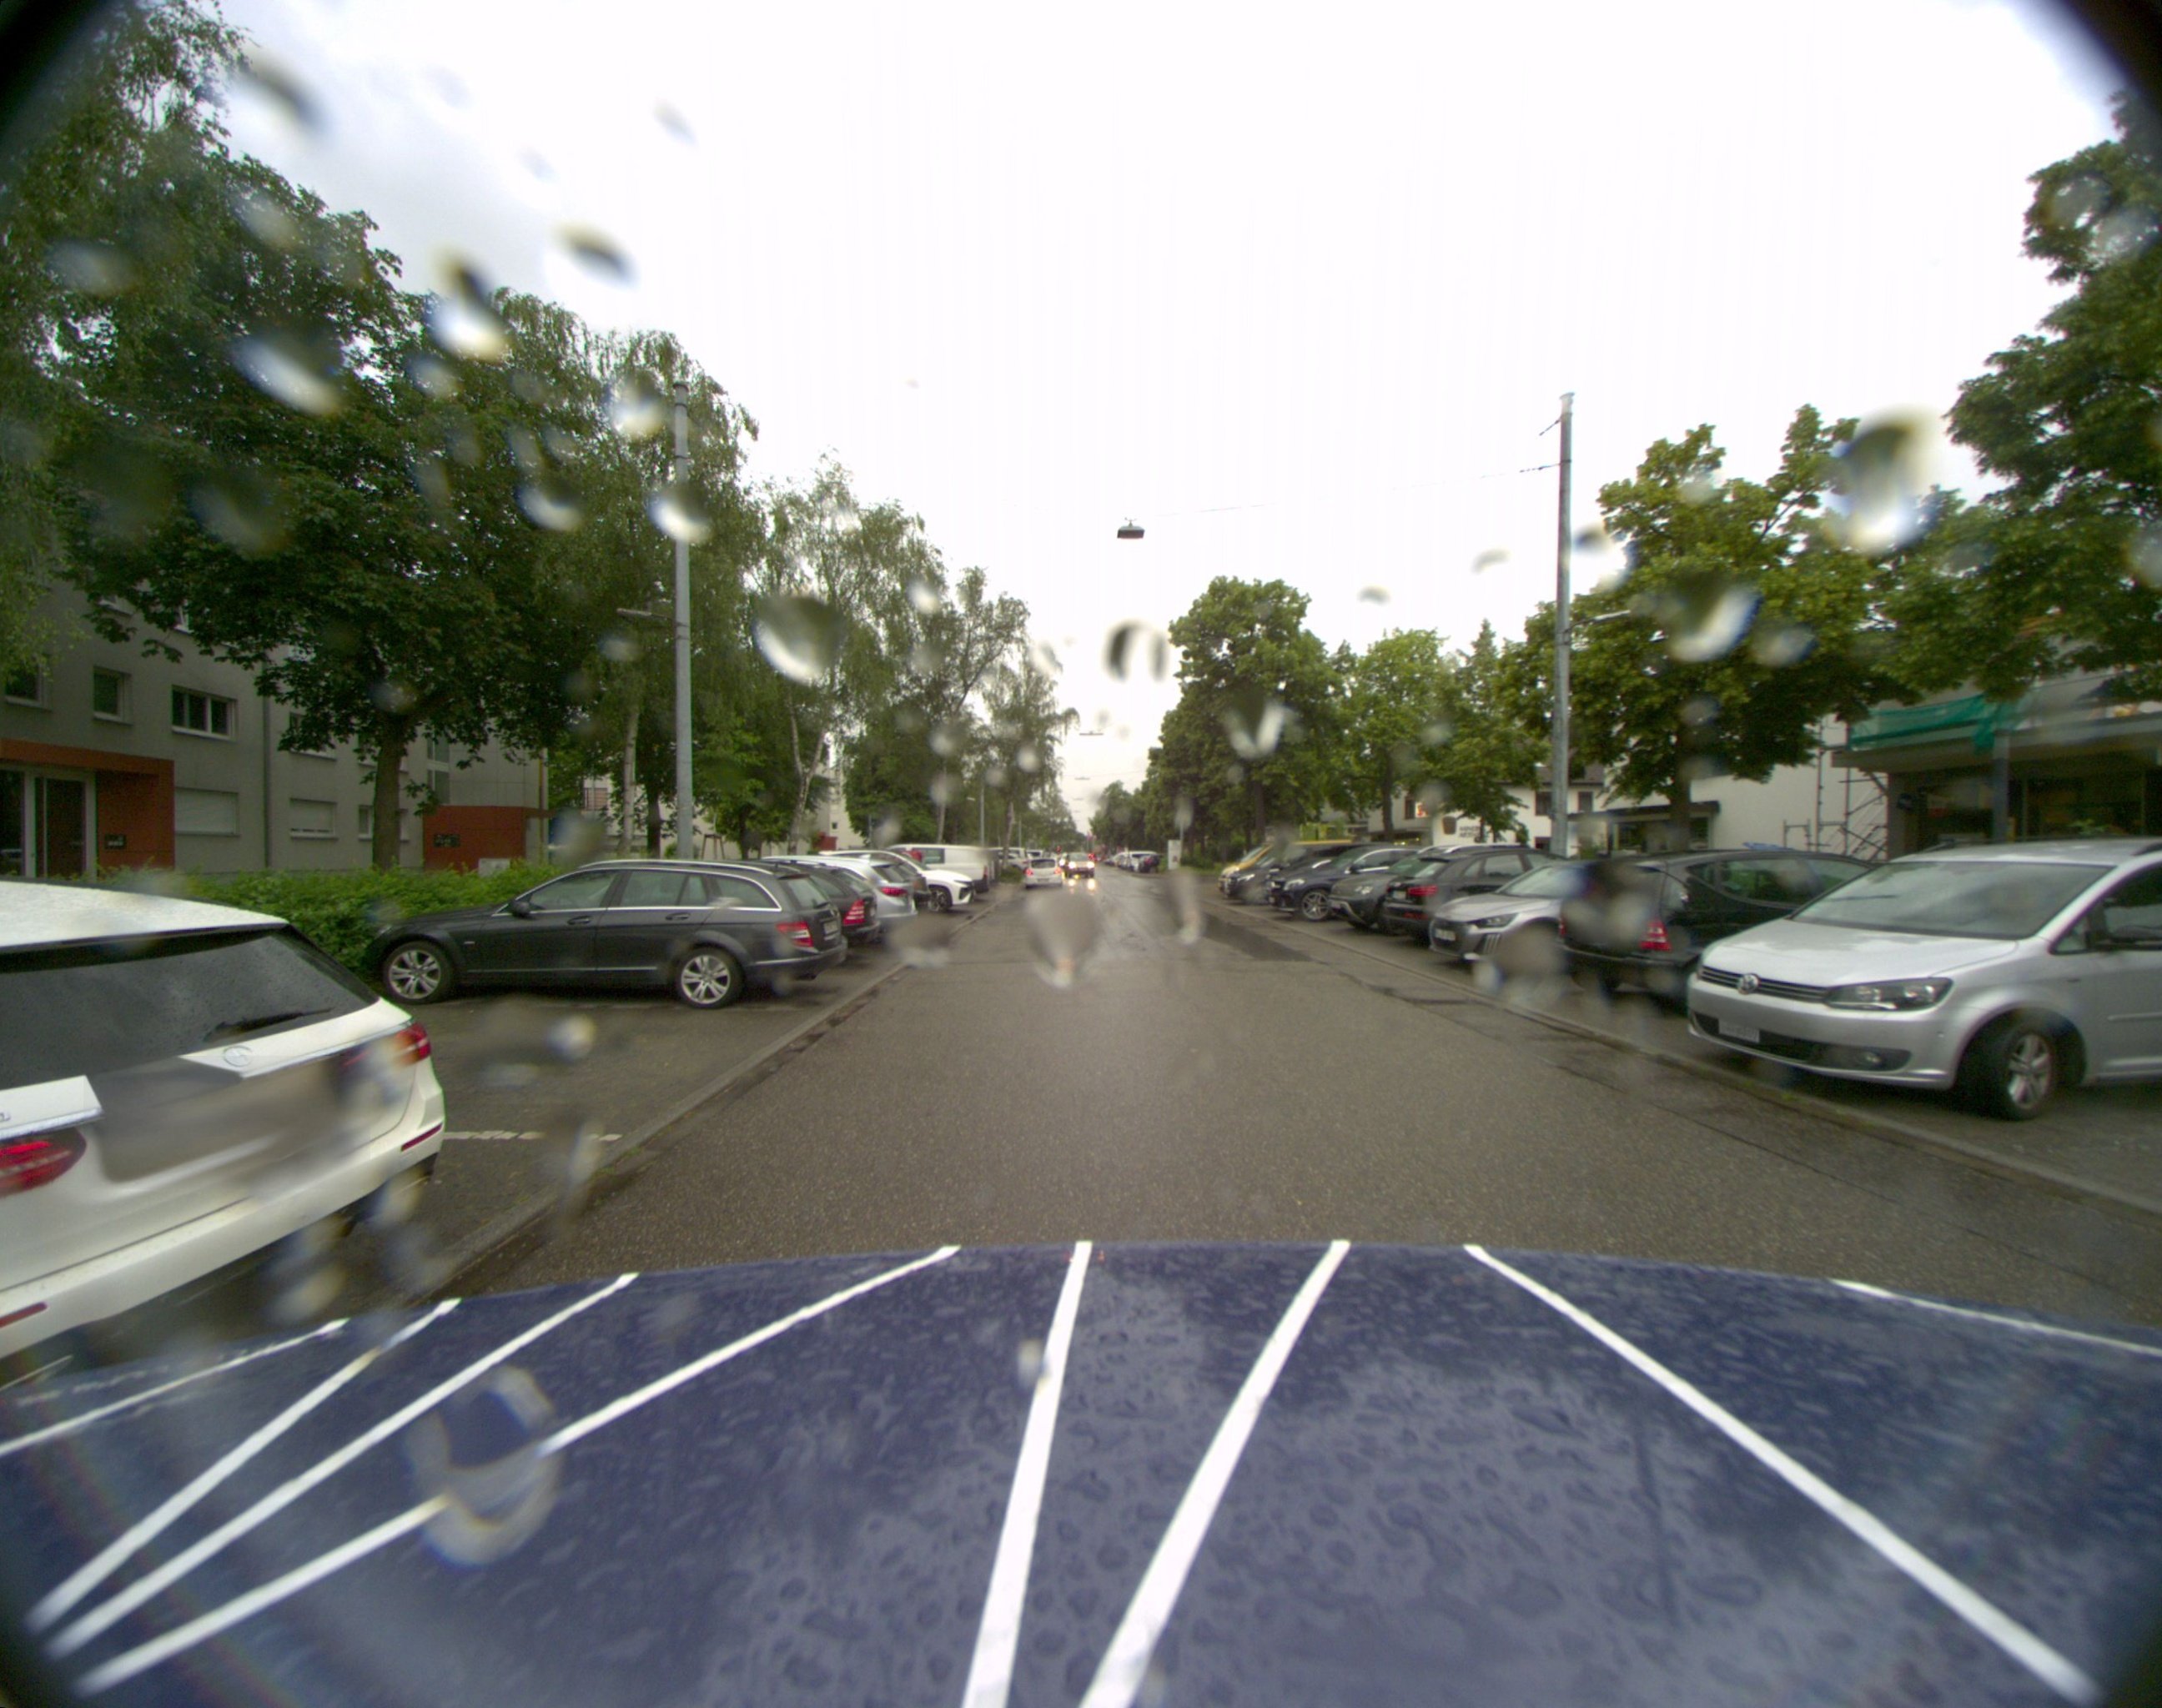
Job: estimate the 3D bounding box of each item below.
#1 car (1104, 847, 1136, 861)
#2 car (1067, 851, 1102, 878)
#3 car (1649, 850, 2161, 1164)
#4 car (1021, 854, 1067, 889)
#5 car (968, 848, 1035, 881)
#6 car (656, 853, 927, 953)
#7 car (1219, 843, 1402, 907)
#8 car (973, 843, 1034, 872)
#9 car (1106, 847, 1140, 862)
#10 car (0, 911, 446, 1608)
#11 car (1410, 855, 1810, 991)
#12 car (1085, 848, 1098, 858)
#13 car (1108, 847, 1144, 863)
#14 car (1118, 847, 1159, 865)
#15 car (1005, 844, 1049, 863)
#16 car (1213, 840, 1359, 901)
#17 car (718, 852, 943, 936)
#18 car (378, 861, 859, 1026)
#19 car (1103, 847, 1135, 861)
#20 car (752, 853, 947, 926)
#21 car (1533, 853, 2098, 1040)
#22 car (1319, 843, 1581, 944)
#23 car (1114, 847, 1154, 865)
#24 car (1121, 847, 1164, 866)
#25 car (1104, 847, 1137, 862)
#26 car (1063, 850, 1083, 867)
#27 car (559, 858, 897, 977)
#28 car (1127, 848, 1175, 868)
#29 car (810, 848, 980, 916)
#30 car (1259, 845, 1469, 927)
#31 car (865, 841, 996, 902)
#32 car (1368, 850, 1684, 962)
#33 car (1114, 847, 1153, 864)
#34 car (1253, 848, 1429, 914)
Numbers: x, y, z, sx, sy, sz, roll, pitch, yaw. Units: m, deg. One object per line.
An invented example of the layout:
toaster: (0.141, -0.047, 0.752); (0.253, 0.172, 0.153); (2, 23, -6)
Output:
car: (5.200, -0.028, 101.613); (3.998, 1.675, 1.999); (-2, 1, -3)
car: (0.279, 0.681, 51.576); (1.838, 1.677, 4.001); (-2, 1, 7)
car: (6.633, 0.854, 5.192); (4.283, 1.625, 1.715); (-2, 1, -2)
car: (-1.712, 0.805, 36.277); (1.999, 1.446, 4.256); (-2, 1, -1)
car: (-5.113, 0.654, 49.321); (3.995, 1.902, 1.902); (-2, 1, 4)
car: (-4.887, 0.808, 13.246); (4.049, 1.488, 1.680); (2, 1, -3)
car: (7.113, 0.630, 23.857); (5.177, 1.789, 1.715); (-2, 1, -2)
car: (-5.514, 0.209, 54.197); (3.995, 1.902, 1.902); (-2, 1, 4)
car: (5.215, 0.070, 94.417); (3.998, 1.675, 1.999); (-2, 1, -3)
car: (-4.748, 0.919, 2.059); (4.623, 1.431, 1.680); (2, 1, 0)
car: (6.979, 0.853, 10.312); (4.283, 1.523, 1.715); (-2, 1, -2)
car: (1.784, -0.261, 130.314); (1.999, 1.617, 3.999); (-2, 1, -1)
car: (5.332, 0.118, 90.311); (3.998, 1.675, 1.999); (-2, 1, -3)
car: (5.890, 0.233, 78.594); (3.998, 1.675, 1.999); (-2, 1, -3)
car: (-5.285, -0.050, 75.034); (3.995, 1.670, 1.902); (-2, 1, 4)
car: (7.185, 0.541, 26.910); (4.657, 1.947, 1.715); (-2, 1, -2)
car: (-5.015, 0.782, 15.643); (4.049, 1.488, 1.680); (2, 1, -3)
car: (-4.646, 0.878, 8.122); (4.049, 1.431, 1.680); (2, 1, -3)
car: (4.966, 0.018, 99.172); (3.998, 1.675, 1.999); (-2, 1, -3)
car: (-5.330, 0.803, 17.850); (4.049, 1.488, 1.680); (2, 1, -3)
car: (7.249, 0.840, 7.776); (4.283, 1.556, 1.635); (-2, 1, -2)
car: (7.081, 0.712, 14.850); (4.283, 1.717, 1.715); (-2, 1, -2)
car: (5.679, 0.208, 81.180); (3.998, 1.675, 1.999); (-2, 1, -3)
car: (6.156, 0.256, 76.063); (3.998, 1.675, 1.999); (-2, 1, -3)
car: (5.023, 0.045, 96.939); (3.998, 1.675, 1.999); (-2, 1, -3)
car: (-0.772, 0.378, 70.835); (1.733, 1.519, 4.138); (0, 1, -1)
car: (-4.886, 0.860, 10.956); (4.049, 1.431, 1.680); (2, 1, -3)
car: (6.325, 0.344, 68.660); (3.998, 1.675, 1.999); (-2, 1, -3)
car: (-5.025, 0.734, 20.898); (4.179, 1.609, 1.680); (3, 1, 1)
car: (6.580, 0.703, 17.942); (4.283, 1.717, 1.715); (-2, 1, -2)
car: (-5.098, 0.570, 26.185); (4.182, 1.856, 1.679); (3, 1, -6)
car: (7.266, 0.798, 12.679); (4.283, 1.586, 1.715); (-2, 1, -2)
car: (5.782, 0.185, 83.754); (3.998, 1.675, 1.999); (-2, 1, -3)
car: (7.125, 0.722, 21.090); (4.283, 1.617, 1.715); (-2, 1, -2)
